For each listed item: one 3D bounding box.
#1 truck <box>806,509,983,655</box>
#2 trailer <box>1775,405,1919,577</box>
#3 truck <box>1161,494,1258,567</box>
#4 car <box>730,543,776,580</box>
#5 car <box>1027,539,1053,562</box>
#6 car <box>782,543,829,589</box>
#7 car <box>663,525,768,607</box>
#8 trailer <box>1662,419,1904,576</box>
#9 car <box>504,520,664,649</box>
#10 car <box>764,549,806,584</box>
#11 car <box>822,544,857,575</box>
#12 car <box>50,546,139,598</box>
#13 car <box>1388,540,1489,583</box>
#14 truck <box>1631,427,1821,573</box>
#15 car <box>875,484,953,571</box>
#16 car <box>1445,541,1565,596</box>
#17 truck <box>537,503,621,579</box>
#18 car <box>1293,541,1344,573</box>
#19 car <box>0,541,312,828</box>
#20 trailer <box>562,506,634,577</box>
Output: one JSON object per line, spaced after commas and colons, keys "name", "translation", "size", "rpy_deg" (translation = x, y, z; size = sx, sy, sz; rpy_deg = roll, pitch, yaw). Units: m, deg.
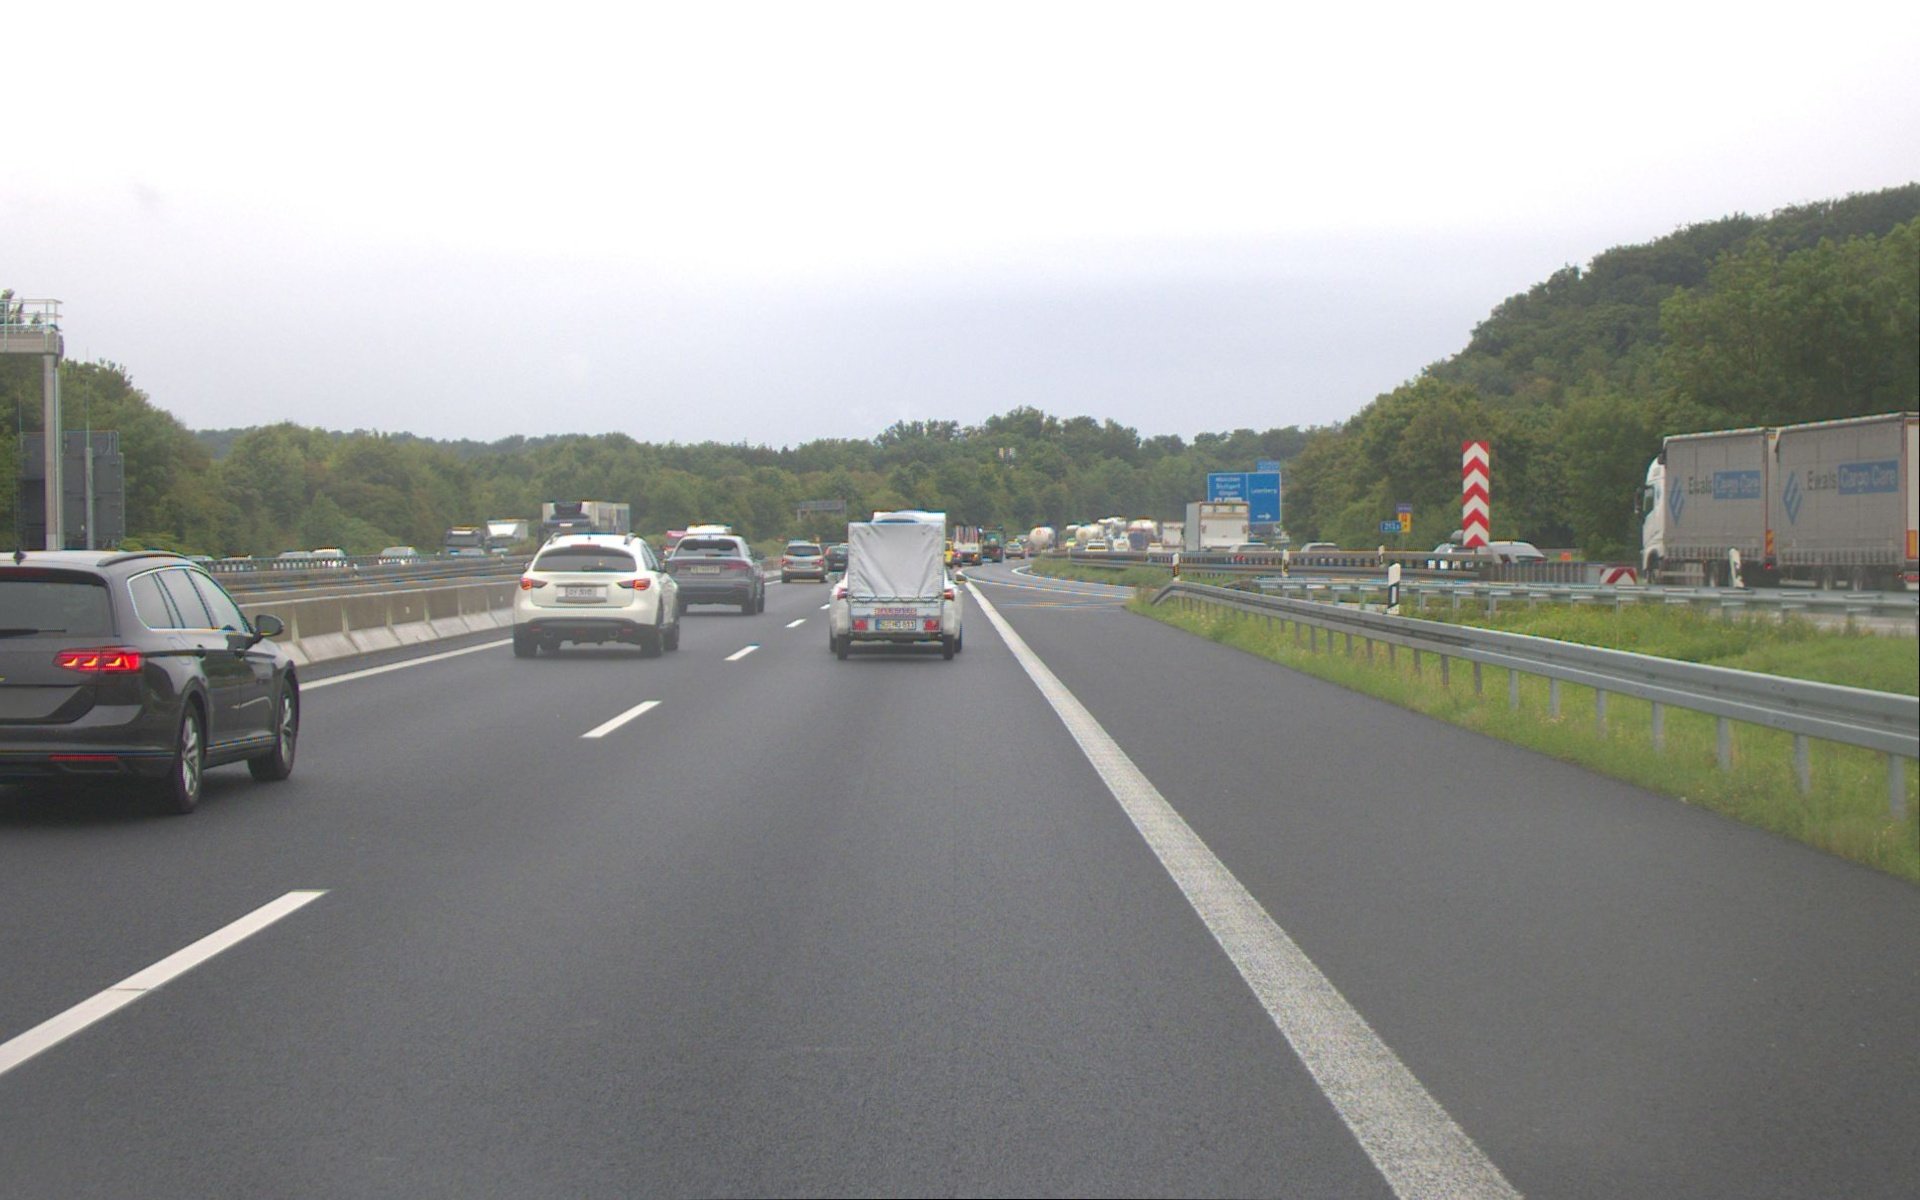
{"name": "truck", "translation": [-0.903, -0.288, 47.259], "size": [2.242, 1.833, 6.585], "rpy_deg": [1, 1, -1]}
{"name": "trailer", "translation": [20.655, -2.277, 74.682], "size": [3.077, 3.515, 8.087], "rpy_deg": [1, 1, -7]}
{"name": "truck", "translation": [12.914, -3.582, 178.906], "size": [3.824, 3.646, 8.273], "rpy_deg": [1, 1, -4]}
{"name": "car", "translation": [-9.339, -1.758, 155.201], "size": [1.819, 1.656, 4.017], "rpy_deg": [0, 1, 0]}
{"name": "car", "translation": [5.518, -3.407, 237.997], "size": [1.645, 1.568, 4.000], "rpy_deg": [1, 1, 0]}
{"name": "car", "translation": [-6.175, -1.375, 137.783], "size": [1.738, 1.787, 4.000], "rpy_deg": [1, 1, -1]}
{"name": "car", "translation": [-5.252, -0.763, 74.316], "size": [1.975, 1.697, 4.803], "rpy_deg": [1, 1, -1]}
{"name": "trailer", "translation": [19.703, -2.410, 82.879], "size": [2.937, 3.515, 8.421], "rpy_deg": [1, 1, -6]}
{"name": "car", "translation": [-5.087, -0.240, 46.867], "size": [2.048, 1.665, 4.542], "rpy_deg": [0, 1, -5]}
{"name": "car", "translation": [-8.529, -1.642, 167.780], "size": [1.819, 1.656, 4.017], "rpy_deg": [0, 1, 0]}
{"name": "car", "translation": [-6.245, -2.125, 178.854], "size": [1.645, 1.568, 4.000], "rpy_deg": [1, 1, 0]}
{"name": "car", "translation": [-29.915, -0.998, 118.929], "size": [1.993, 1.731, 4.583], "rpy_deg": [-1, 1, -1]}
{"name": "car", "translation": [15.949, -1.289, 114.783], "size": [1.985, 1.372, 5.080], "rpy_deg": [0, 1, -8]}
{"name": "truck", "translation": [19.286, -2.485, 86.930], "size": [2.937, 3.515, 5.928], "rpy_deg": [1, 1, -5]}
{"name": "car", "translation": [-1.518, -2.354, 110.769], "size": [2.331, 2.716, 6.541], "rpy_deg": [0, 2, -2]}
{"name": "car", "translation": [14.702, -0.867, 93.038], "size": [1.986, 1.372, 5.320], "rpy_deg": [0, 2, -5]}
{"name": "truck", "translation": [-18.386, -2.836, 166.579], "size": [2.808, 3.512, 10.641], "rpy_deg": [1, 1, 0]}
{"name": "car", "translation": [14.958, -1.797, 143.500], "size": [1.697, 1.284, 3.535], "rpy_deg": [1, 1, -1]}
{"name": "car", "translation": [-5.098, 0.393, 20.022], "size": [1.787, 1.454, 4.802], "rpy_deg": [1, 1, -1]}
{"name": "trailer", "translation": [-18.495, -2.964, 175.997], "size": [2.942, 3.504, 8.052], "rpy_deg": [1, 1, -1]}
